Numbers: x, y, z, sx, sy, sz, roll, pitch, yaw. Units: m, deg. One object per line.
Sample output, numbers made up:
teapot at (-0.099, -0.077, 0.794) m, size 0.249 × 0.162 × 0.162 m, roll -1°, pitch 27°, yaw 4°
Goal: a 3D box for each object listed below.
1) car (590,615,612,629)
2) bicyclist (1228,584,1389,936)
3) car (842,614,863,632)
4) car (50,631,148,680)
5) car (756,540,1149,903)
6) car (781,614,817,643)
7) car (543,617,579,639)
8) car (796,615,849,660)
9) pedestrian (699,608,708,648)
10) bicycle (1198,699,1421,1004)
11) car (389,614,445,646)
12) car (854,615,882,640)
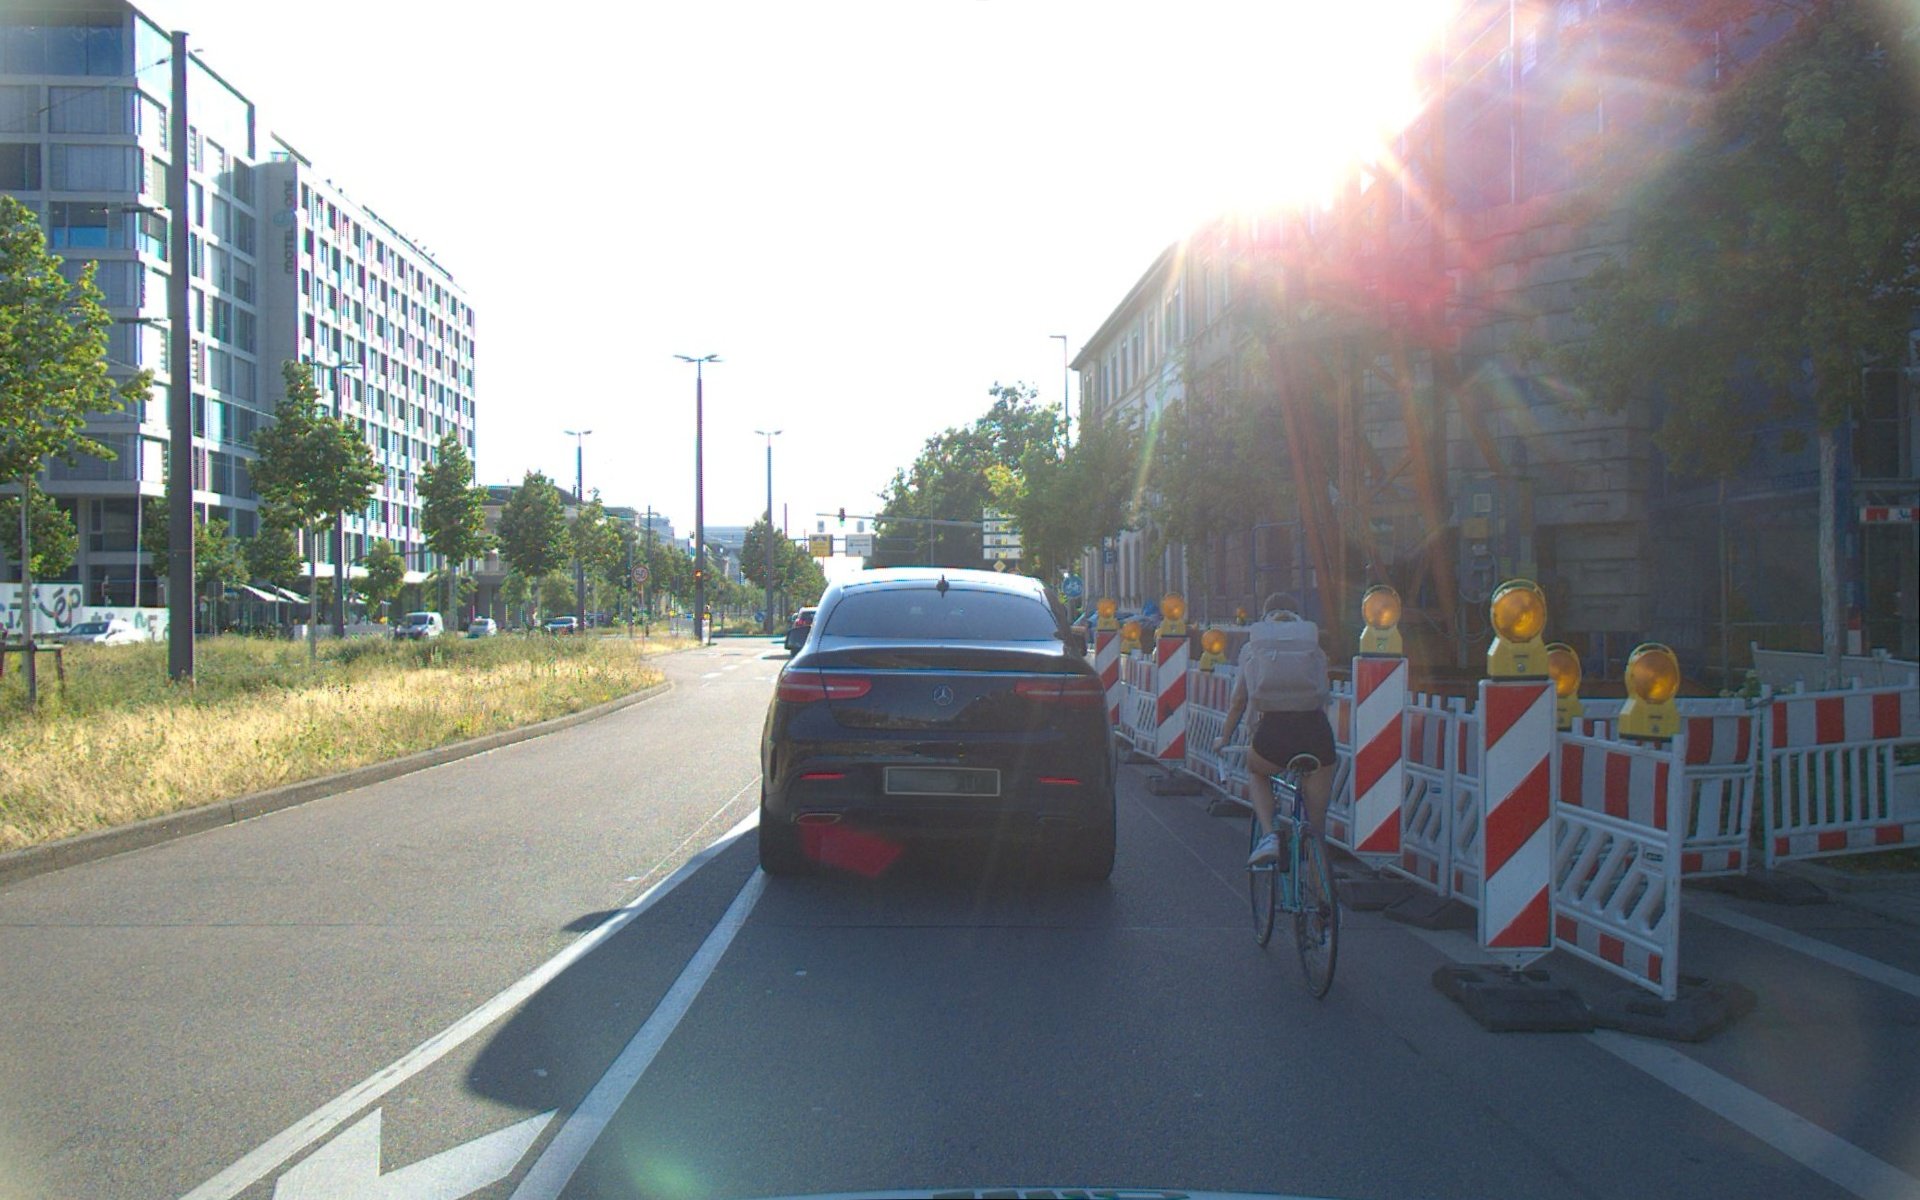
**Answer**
car at (-38.150, 2.345, 175.816) m, size 1.674 × 1.467 × 3.580 m, roll 1°, pitch -1°, yaw -3°
bicyclist at (1.465, 0.652, 7.019) m, size 0.512 × 1.420 × 0.614 m, roll 1°, pitch -1°, yaw -4°
car at (-8.642, 1.841, 133.202) m, size 1.674 × 1.467 × 3.580 m, roll 1°, pitch -1°, yaw -3°
car at (-31.567, 2.010, 60.741) m, size 1.754 × 1.713 × 3.637 m, roll 1°, pitch -1°, yaw -2°
car at (-0.059, 0.631, 10.330) m, size 1.953 × 1.803 × 3.999 m, roll 1°, pitch -1°, yaw -1°
car at (-8.213, 1.441, 84.541) m, size 1.674 × 1.467 × 3.580 m, roll 1°, pitch -1°, yaw -3°
car at (-27.296, 1.915, 113.221) m, size 1.674 × 1.467 × 3.580 m, roll 1°, pitch -1°, yaw -3°
car at (-4.697, 1.255, 56.767) m, size 1.674 × 1.467 × 3.580 m, roll 0°, pitch 0°, yaw -3°
pedestrian at (-11.378, 1.235, 73.267) m, size 0.327 × 1.794 × 0.418 m, roll 1°, pitch -1°, yaw -3°
bicycle at (1.458, 1.011, 7.165) m, size 0.502 × 1.070 × 1.724 m, roll 1°, pitch -1°, yaw -3°
car at (-29.690, 1.614, 90.528) m, size 1.753 × 1.713 × 3.639 m, roll 1°, pitch -1°, yaw 2°
car at (-5.669, 1.683, 102.068) m, size 1.674 × 1.467 × 3.580 m, roll 1°, pitch -1°, yaw -3°
